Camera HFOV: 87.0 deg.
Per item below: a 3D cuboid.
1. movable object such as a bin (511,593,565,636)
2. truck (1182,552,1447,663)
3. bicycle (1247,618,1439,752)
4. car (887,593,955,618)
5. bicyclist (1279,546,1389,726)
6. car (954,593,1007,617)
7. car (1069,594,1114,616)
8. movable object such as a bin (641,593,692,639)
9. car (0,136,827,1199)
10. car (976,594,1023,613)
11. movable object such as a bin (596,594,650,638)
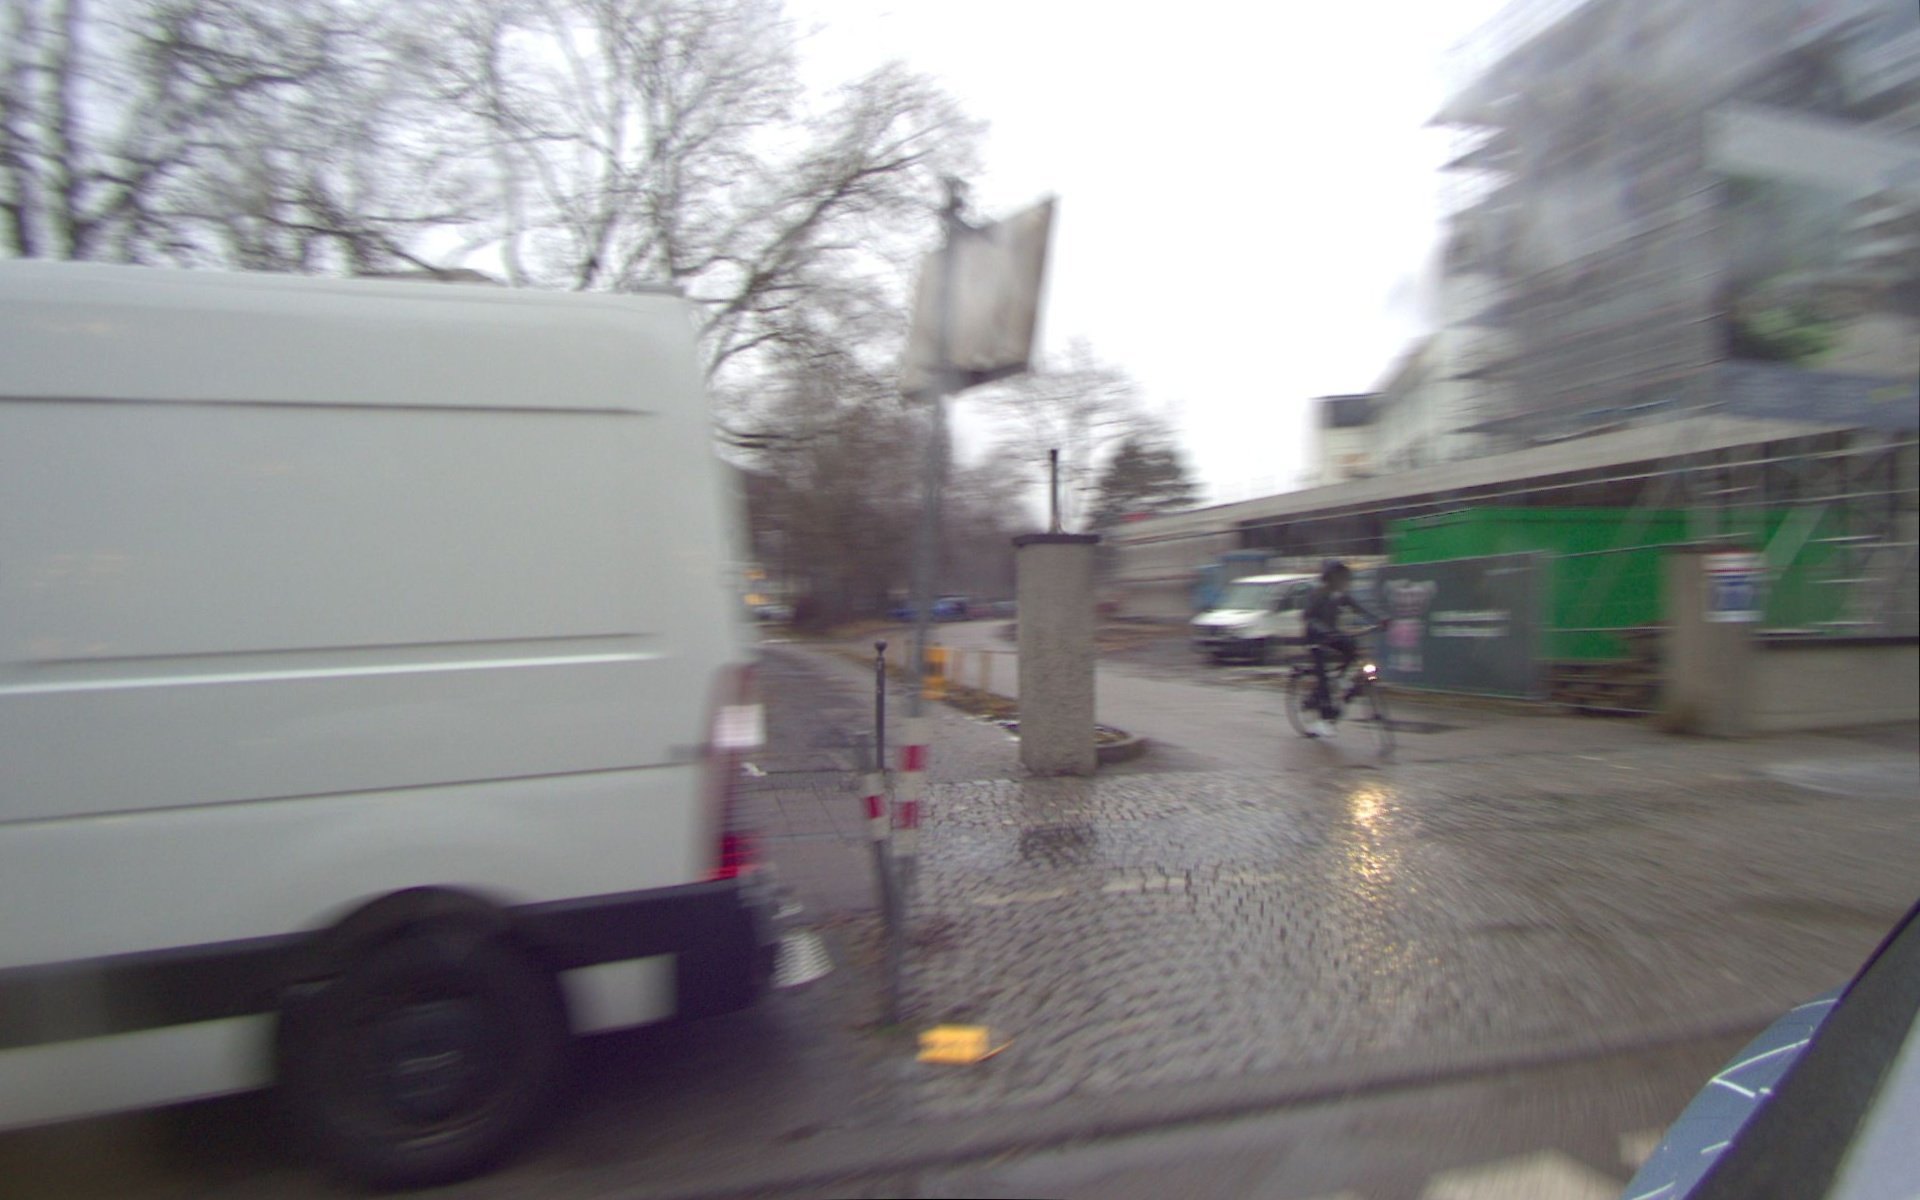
[{"bbox_3d":[-13.221,0.445,31.735,1.230,1.296,0.986,0,0,8],"label":"movable object such as a bin"},{"bbox_3d":[9.392,0.106,26.666,6.934,2.620,2.136,-2,1,-23],"label":"truck"},{"bbox_3d":[3.742,0.777,10.074,0.715,1.147,1.898,0,0,-21],"label":"bicycle"},{"bbox_3d":[-2.559,0.366,66.566,4.115,1.497,1.992,0,-3,11],"label":"car"},{"bbox_3d":[3.727,0.338,10.113,0.692,1.710,0.773,0,0,-21],"label":"bicyclist"},{"bbox_3d":[1.621,0.378,79.836,3.942,1.819,1.794,0,0,15],"label":"car"},{"bbox_3d":[9.780,0.357,74.986,3.256,1.542,1.699,0,0,11],"label":"car"},{"bbox_3d":[-8.936,0.474,30.865,1.297,1.333,1.064,1,0,-5],"label":"movable object such as a bin"},{"bbox_3d":[-3.245,0.200,3.054,5.324,2.518,2.135,0,0,-18],"label":"car"},{"bbox_3d":[3.538,0.274,90.727,3.942,1.683,1.991,0,0,15],"label":"car"},{"bbox_3d":[-10.325,0.473,31.065,1.285,1.330,0.986,0,0,8],"label":"movable object such as a bin"}]
